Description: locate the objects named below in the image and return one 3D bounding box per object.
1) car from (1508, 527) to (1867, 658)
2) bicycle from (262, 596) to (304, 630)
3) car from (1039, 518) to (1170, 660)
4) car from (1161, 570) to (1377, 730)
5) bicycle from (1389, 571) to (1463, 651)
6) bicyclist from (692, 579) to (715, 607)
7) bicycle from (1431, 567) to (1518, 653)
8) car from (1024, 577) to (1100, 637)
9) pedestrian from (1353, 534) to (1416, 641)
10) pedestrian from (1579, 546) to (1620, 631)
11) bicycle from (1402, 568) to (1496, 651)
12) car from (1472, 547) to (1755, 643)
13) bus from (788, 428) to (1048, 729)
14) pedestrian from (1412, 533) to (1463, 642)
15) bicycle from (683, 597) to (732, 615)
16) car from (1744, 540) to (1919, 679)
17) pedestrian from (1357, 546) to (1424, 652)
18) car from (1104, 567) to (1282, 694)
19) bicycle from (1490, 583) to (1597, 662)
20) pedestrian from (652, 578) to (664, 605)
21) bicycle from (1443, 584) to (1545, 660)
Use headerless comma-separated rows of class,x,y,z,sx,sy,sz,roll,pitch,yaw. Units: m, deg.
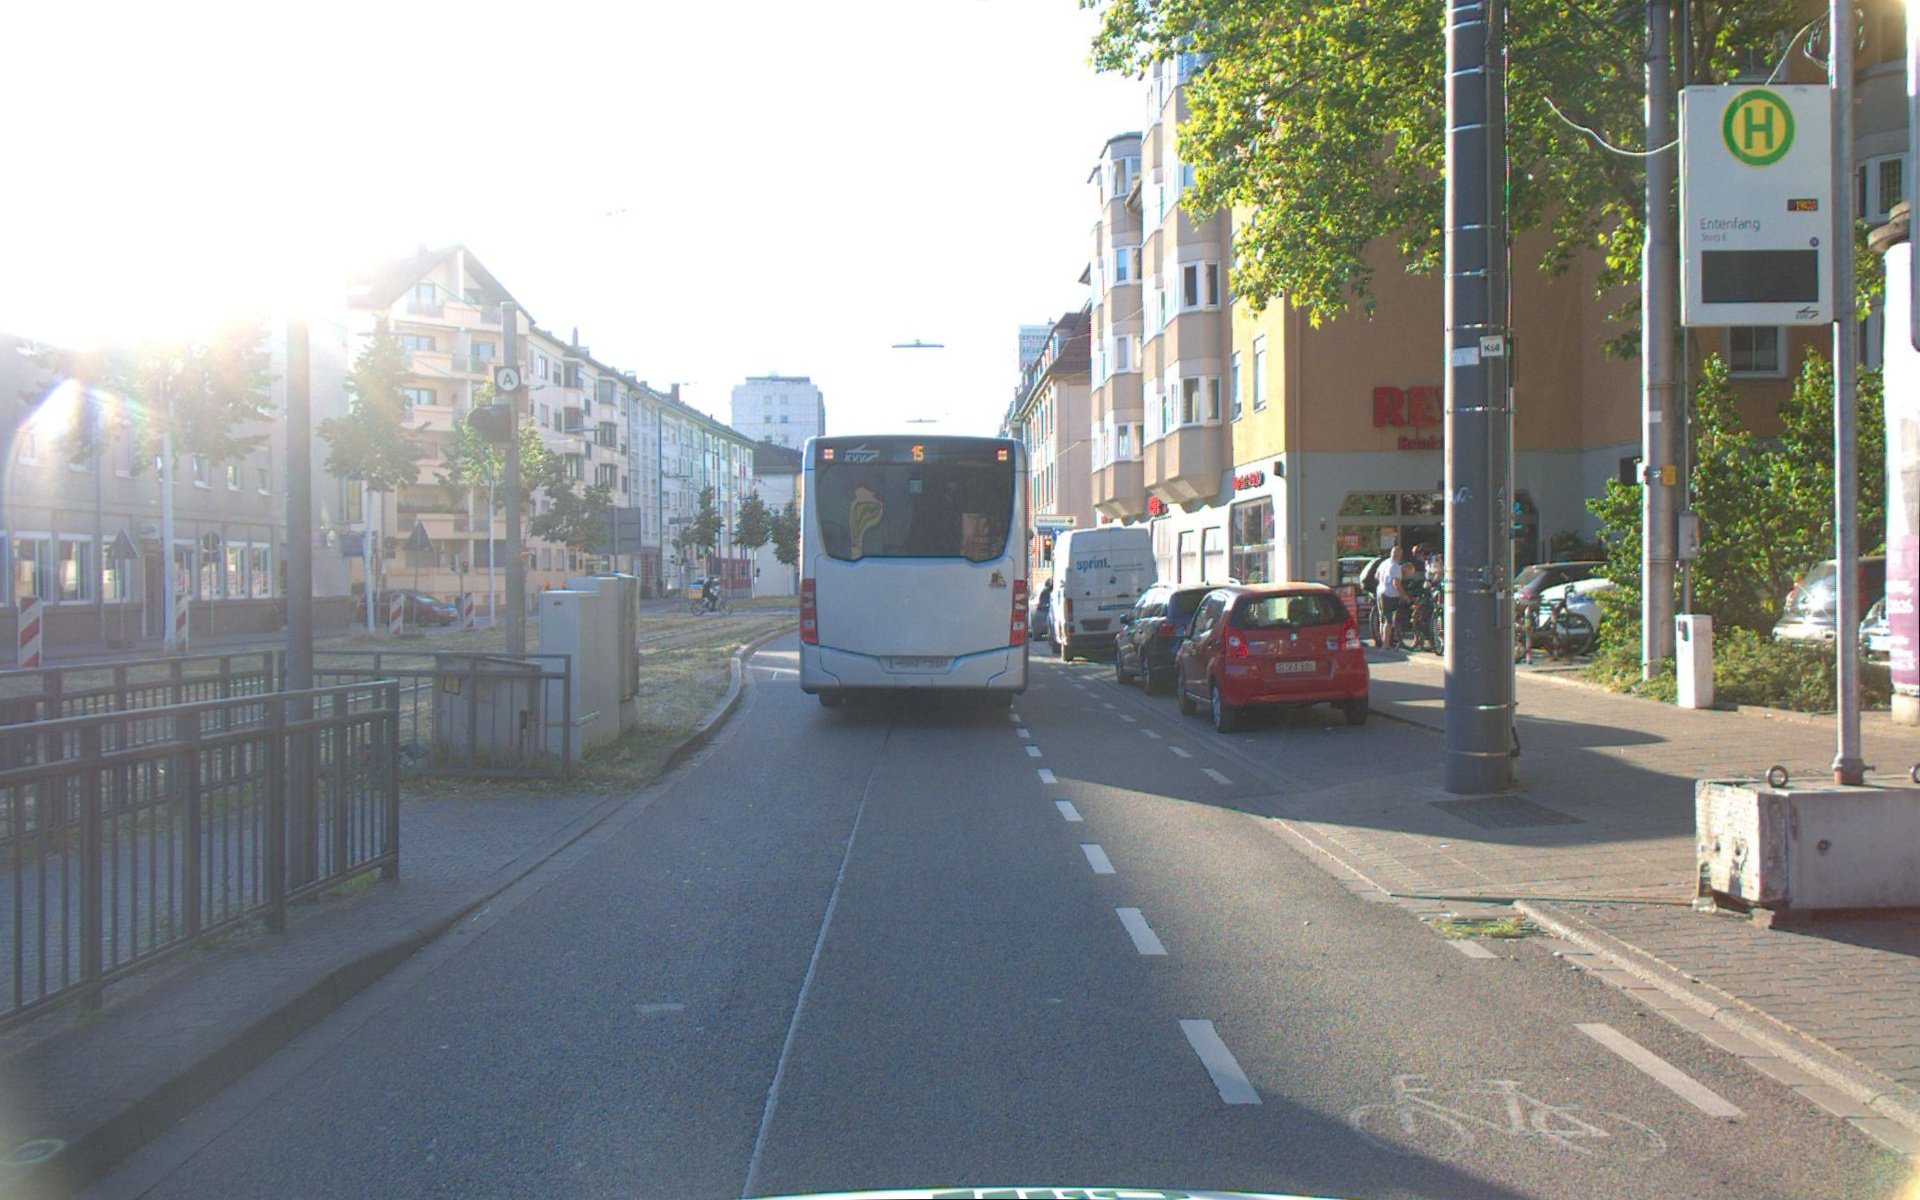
car,10.907,-0.119,25.033,4.525,1.738,1.999,2,0,-2
bicycle,-23.472,0.440,57.392,0.731,1.134,1.778,-1,1,-1
car,2.918,-0.240,34.697,1.976,2.595,5.784,-4,1,-1
car,3.312,0.481,18.355,1.538,1.520,3.624,-3,1,-2
bicycle,7.536,0.170,26.693,1.507,1.248,0.397,-1,1,-42
bicyclist,-11.076,-0.303,71.459,0.916,1.181,0.642,-1,0,-12
bicycle,7.745,0.136,24.860,0.636,1.248,1.573,-1,1,42
car,2.803,0.172,46.141,1.801,1.563,4.229,-1,1,-1
pedestrian,7.367,-0.228,28.710,0.790,1.782,0.768,-4,2,-1
pedestrian,12.114,-0.220,31.341,0.630,1.595,0.417,-1,0,-31
bicycle,7.680,0.134,25.956,1.568,1.248,0.642,-2,1,-40
car,10.914,-0.052,27.846,3.933,1.457,1.999,-1,-2,-2
bus,-0.497,-0.271,21.690,2.683,3.109,8.852,1,1,-1
pedestrian,8.200,-0.214,28.438,0.518,1.812,0.649,-4,2,-8
bicycle,-10.913,0.261,71.491,2.027,0.745,0.760,-1,1,-12
car,11.291,0.138,19.273,3.427,1.508,1.773,2,1,-2
pedestrian,7.106,-0.028,27.309,0.647,1.664,0.988,-4,2,-8
car,3.262,0.374,24.037,1.663,1.557,4.650,-3,1,-2
bicycle,8.097,0.298,22.929,1.664,1.031,0.642,-2,1,-40
pedestrian,-23.249,-0.631,127.238,0.771,2.049,0.890,-1,0,-4
bicycle,7.654,0.305,23.690,1.568,1.031,0.642,-2,1,-40
